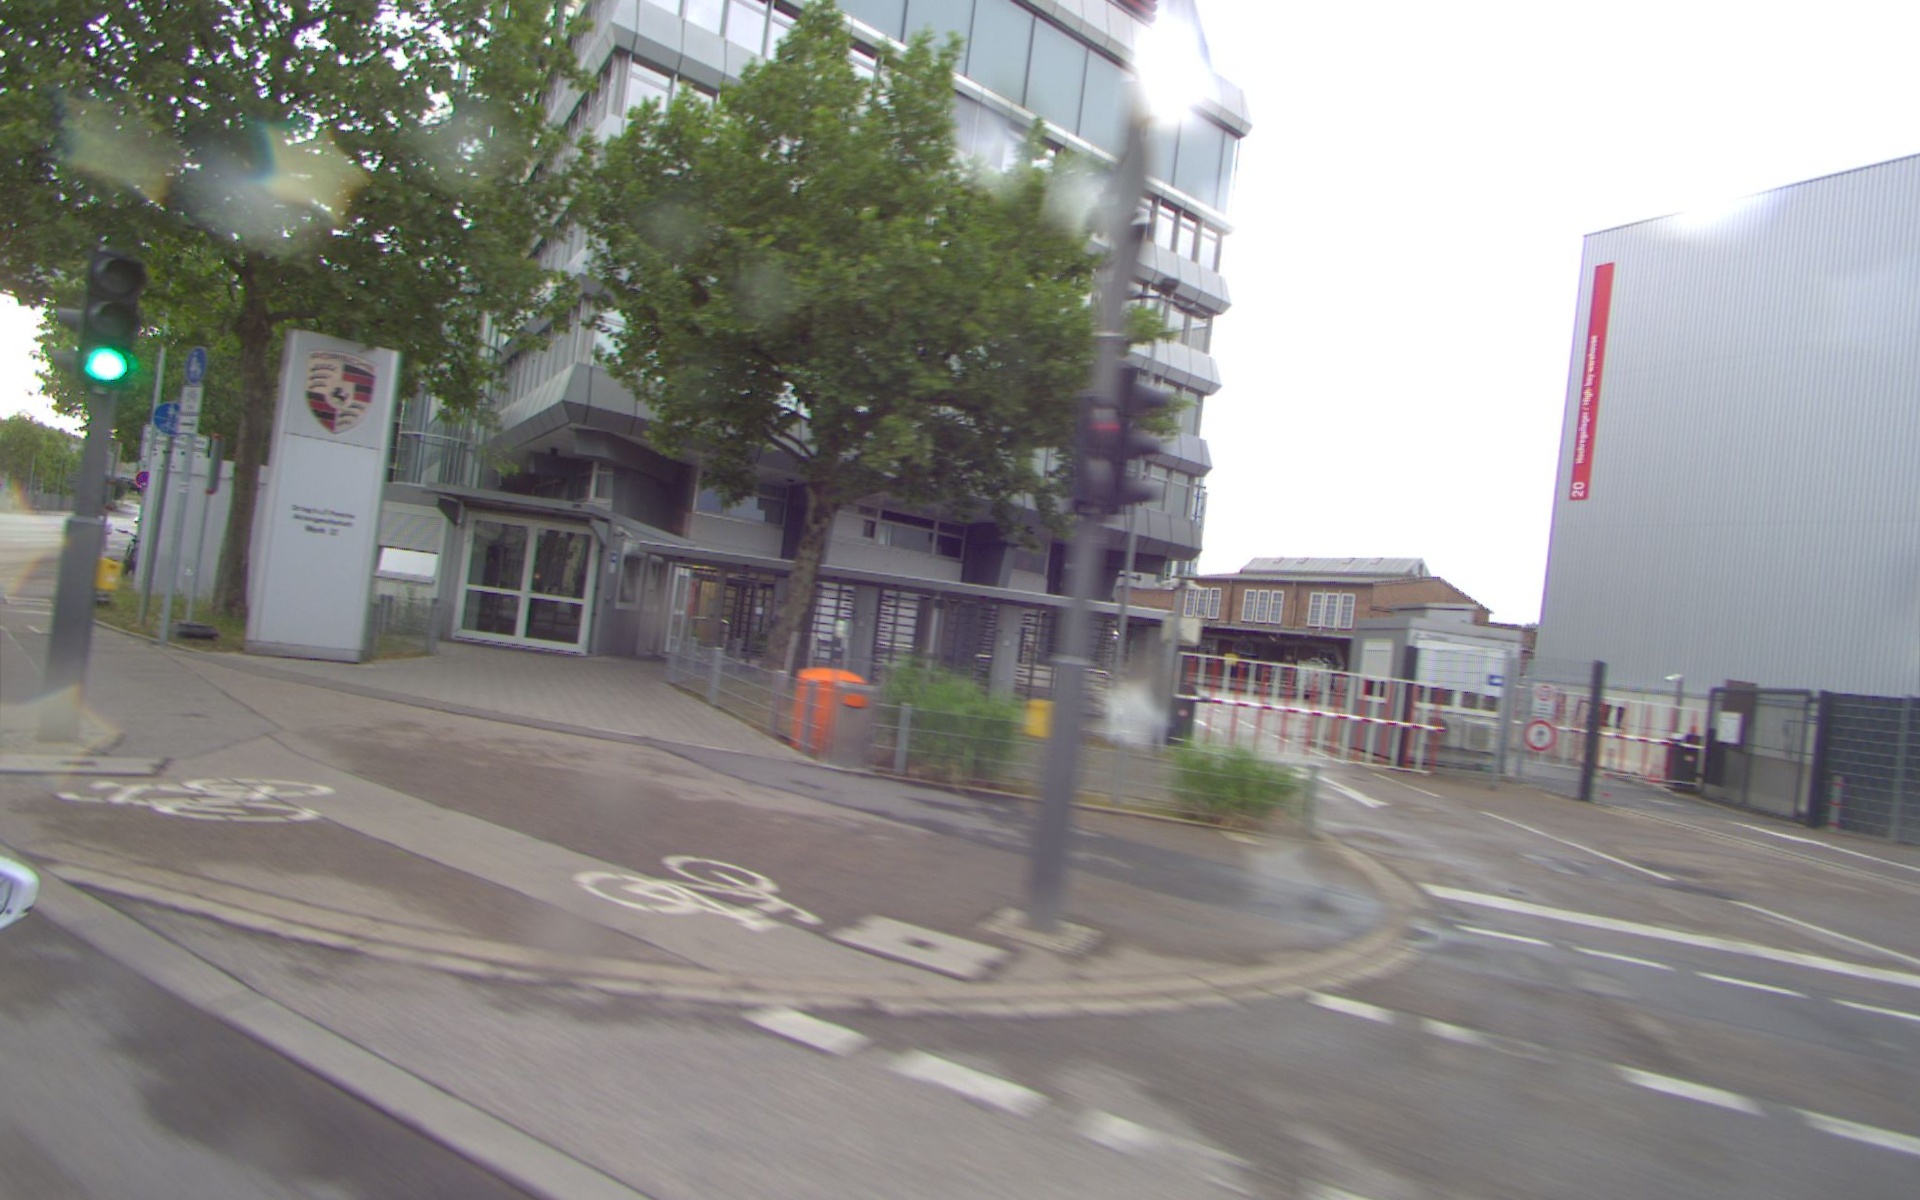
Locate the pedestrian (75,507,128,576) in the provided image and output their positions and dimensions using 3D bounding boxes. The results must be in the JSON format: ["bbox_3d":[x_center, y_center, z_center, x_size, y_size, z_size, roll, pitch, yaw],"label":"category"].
[{"bbox_3d":[-21.457,-1.455,25.156,0.704,1.611,0.834,8,-1,-30],"label":"pedestrian"}]

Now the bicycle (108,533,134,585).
[{"bbox_3d":[-19.860,-0.986,23.806,0.340,1.132,1.951,8,-1,-40],"label":"bicycle"}]

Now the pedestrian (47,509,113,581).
[{"bbox_3d":[-20.404,-1.266,23.351,0.824,1.538,0.836,8,-1,-28],"label":"pedestrian"}]

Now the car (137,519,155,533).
[{"bbox_3d":[-125.064,-11.371,154.601,1.985,1.792,3.958,8,-2,-38],"label":"car"}]

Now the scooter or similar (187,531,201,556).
[{"bbox_3d":[-41.566,-3.077,54.567,0.431,1.285,1.183,7,-1,-35],"label":"scooter or similar"}]
